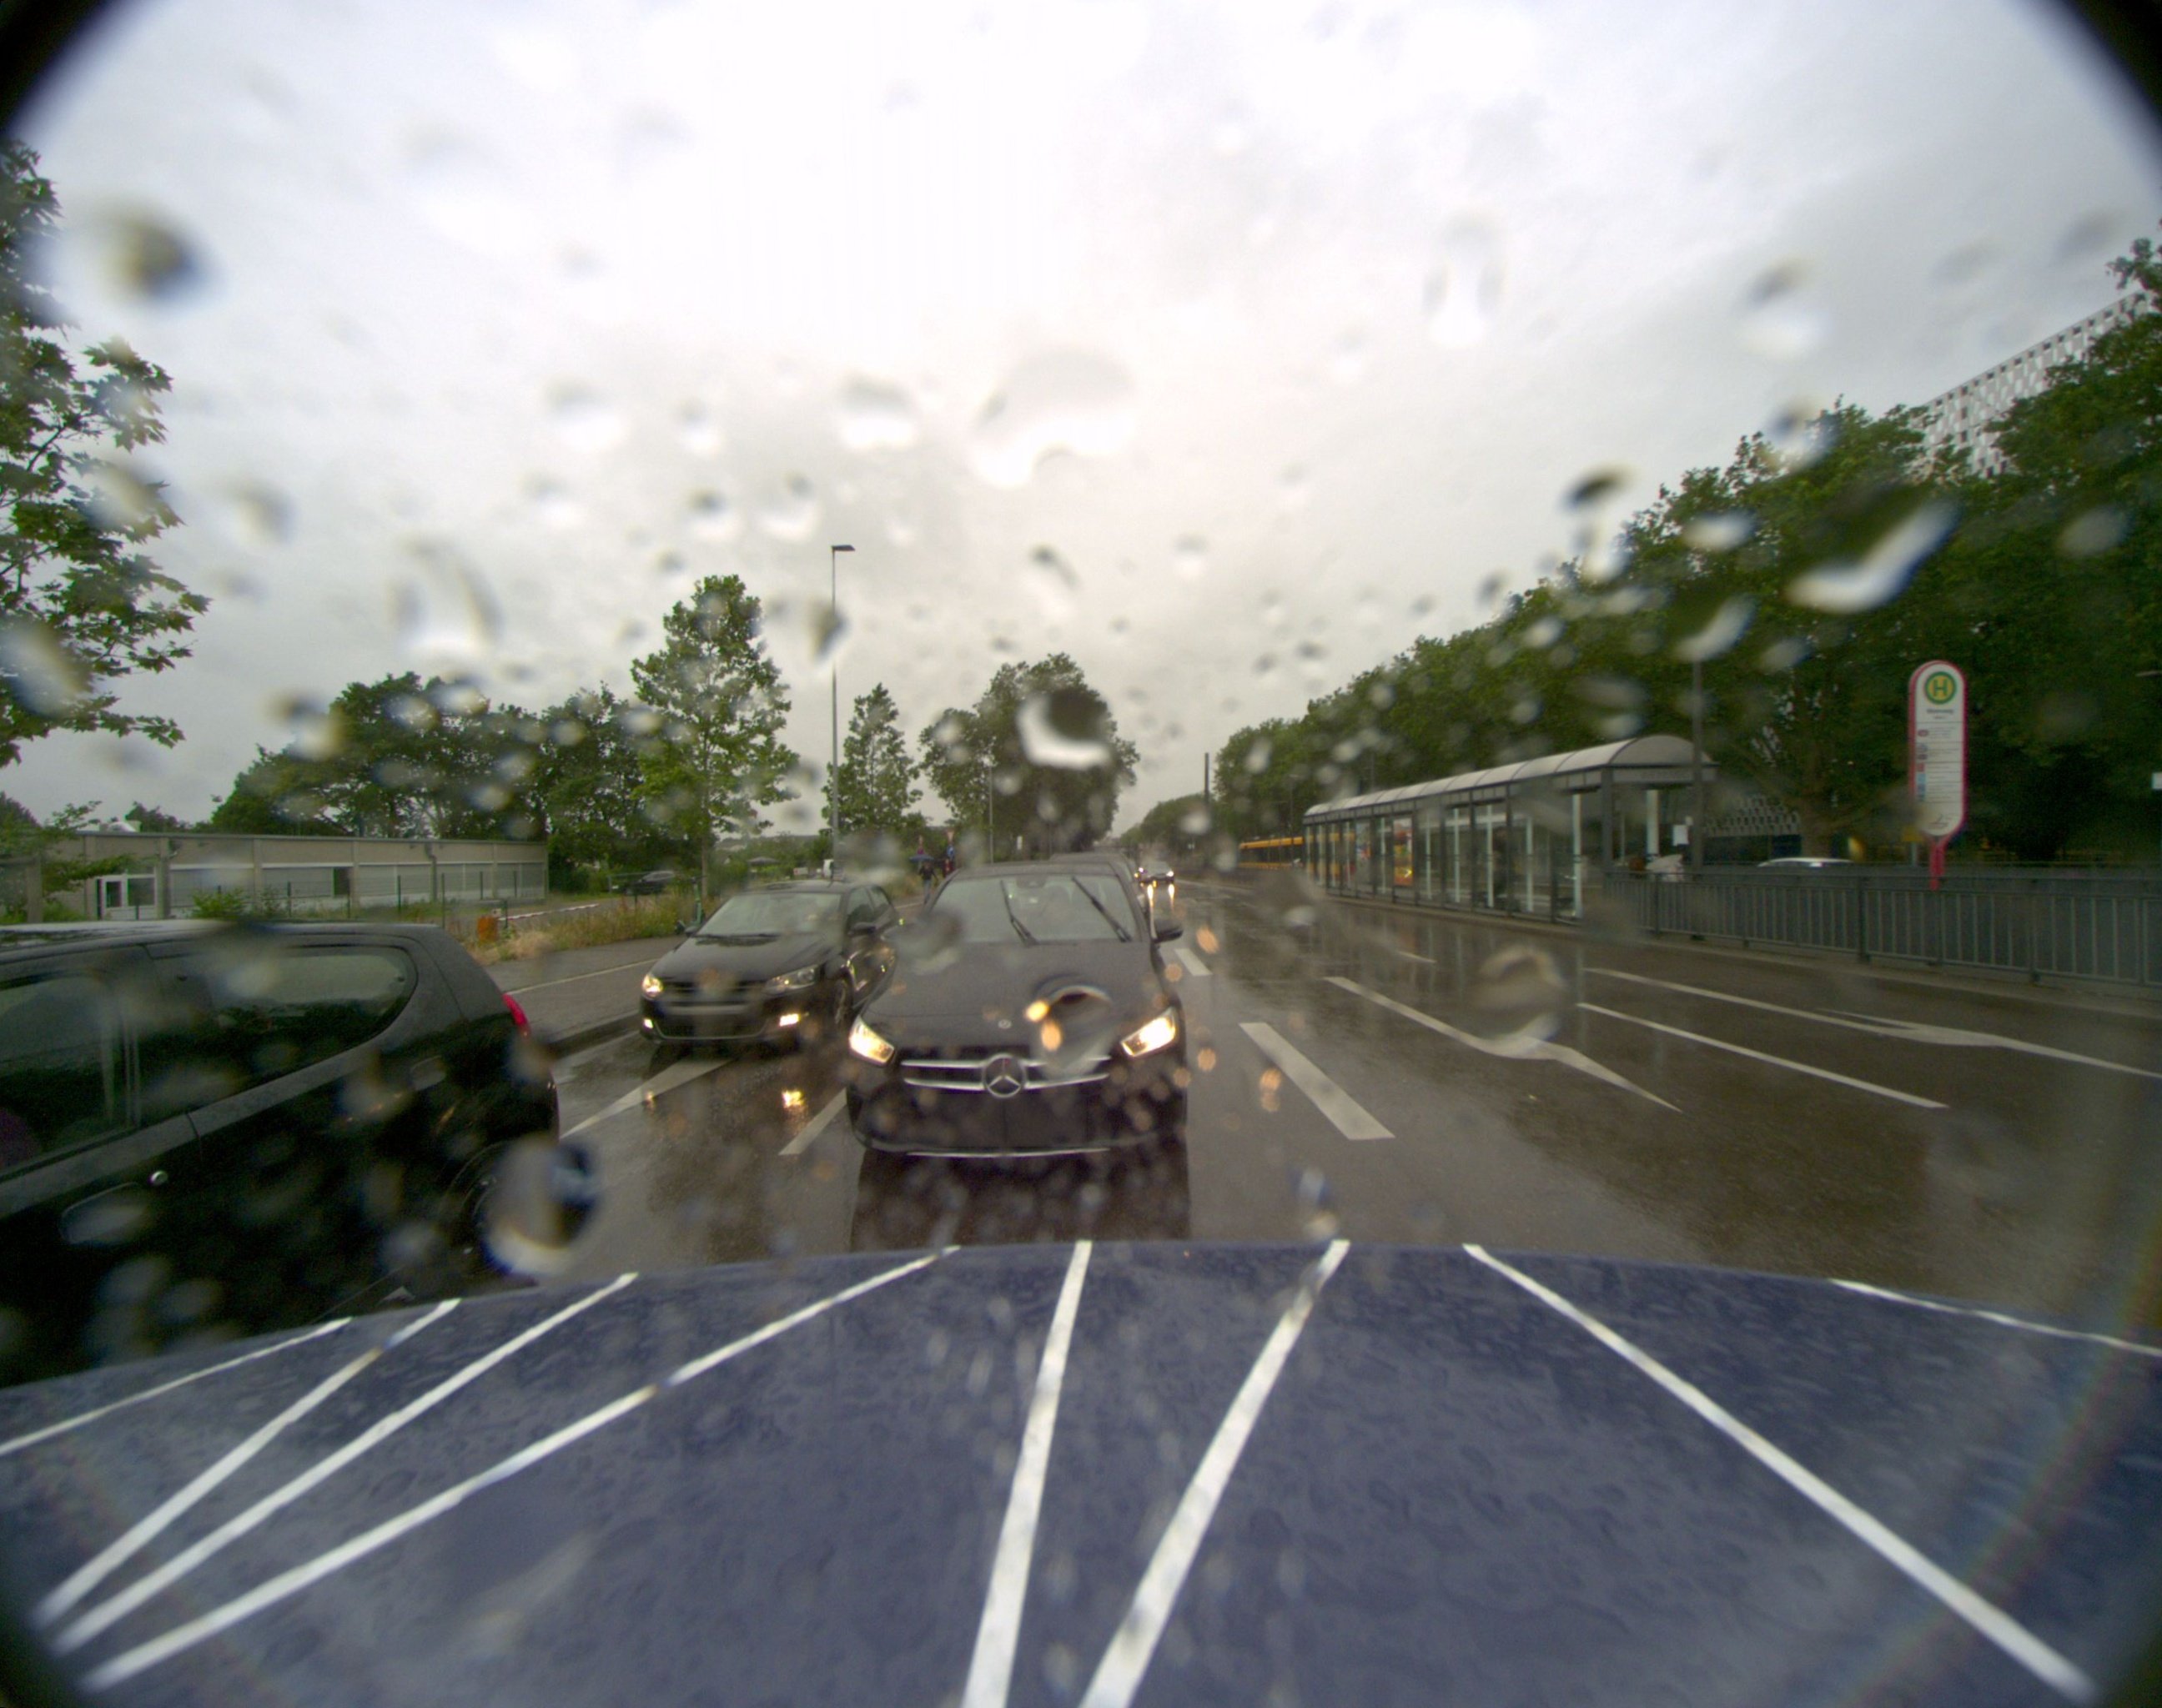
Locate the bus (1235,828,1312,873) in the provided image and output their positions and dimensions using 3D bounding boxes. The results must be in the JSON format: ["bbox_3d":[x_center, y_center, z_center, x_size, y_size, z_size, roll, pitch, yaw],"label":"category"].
[{"bbox_3d":[16.315,-0.357,66.023,2.938,3.310,15.061,-2,1,1],"label":"bus"}]

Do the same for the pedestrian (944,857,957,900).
[{"bbox_3d":[-5.026,0.939,29.281,0.401,1.652,0.441,1,1,0],"label":"pedestrian"}]

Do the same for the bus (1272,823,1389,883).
[{"bbox_3d":[16.161,-0.156,50.898,2.938,3.310,15.061,-2,1,1],"label":"bus"}]

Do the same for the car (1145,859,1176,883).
[{"bbox_3d":[5.300,1.119,50.993,1.766,1.390,4.645,-2,0,2],"label":"car"}]

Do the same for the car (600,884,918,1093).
[{"bbox_3d":[-2.873,1.113,7.679,1.633,1.420,3.624,-2,0,0],"label":"car"}]

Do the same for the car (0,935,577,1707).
[{"bbox_3d":[-3.005,1.082,1.443,1.633,1.420,3.624,-2,0,0],"label":"car"}]

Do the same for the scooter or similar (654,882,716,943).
[{"bbox_3d":[-8.207,1.185,15.813,0.381,1.123,1.777,0,1,-1],"label":"scooter or similar"}]

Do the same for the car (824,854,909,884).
[{"bbox_3d":[-13.499,0.942,48.099,4.759,1.640,1.999,-2,1,-2],"label":"car"}]

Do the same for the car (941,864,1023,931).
[{"bbox_3d":[-2.682,1.141,21.374,1.698,1.565,3.813,-2,1,1],"label":"car"}]

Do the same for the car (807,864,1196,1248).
[{"bbox_3d":[-0.329,0.945,5.504,1.690,1.578,4.163,-2,1,1],"label":"car"}]

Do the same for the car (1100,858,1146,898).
[{"bbox_3d":[1.869,1.045,34.960,1.794,1.597,3.999,-2,1,0],"label":"car"}]

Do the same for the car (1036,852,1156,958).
[{"bbox_3d":[0.207,0.725,12.474,1.633,1.420,3.624,-2,0,0],"label":"car"}]

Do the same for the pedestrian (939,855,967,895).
[{"bbox_3d":[-5.462,0.883,32.547,1.025,1.698,0.891,1,1,0],"label":"pedestrian"}]

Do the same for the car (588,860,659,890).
[{"bbox_3d":[-33.964,1.518,56.522,3.996,2.002,2.000,-2,1,2],"label":"car"}]

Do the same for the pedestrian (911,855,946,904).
[{"bbox_3d":[-5.515,0.902,27.468,1.082,1.746,0.969,0,1,0],"label":"pedestrian"}]
